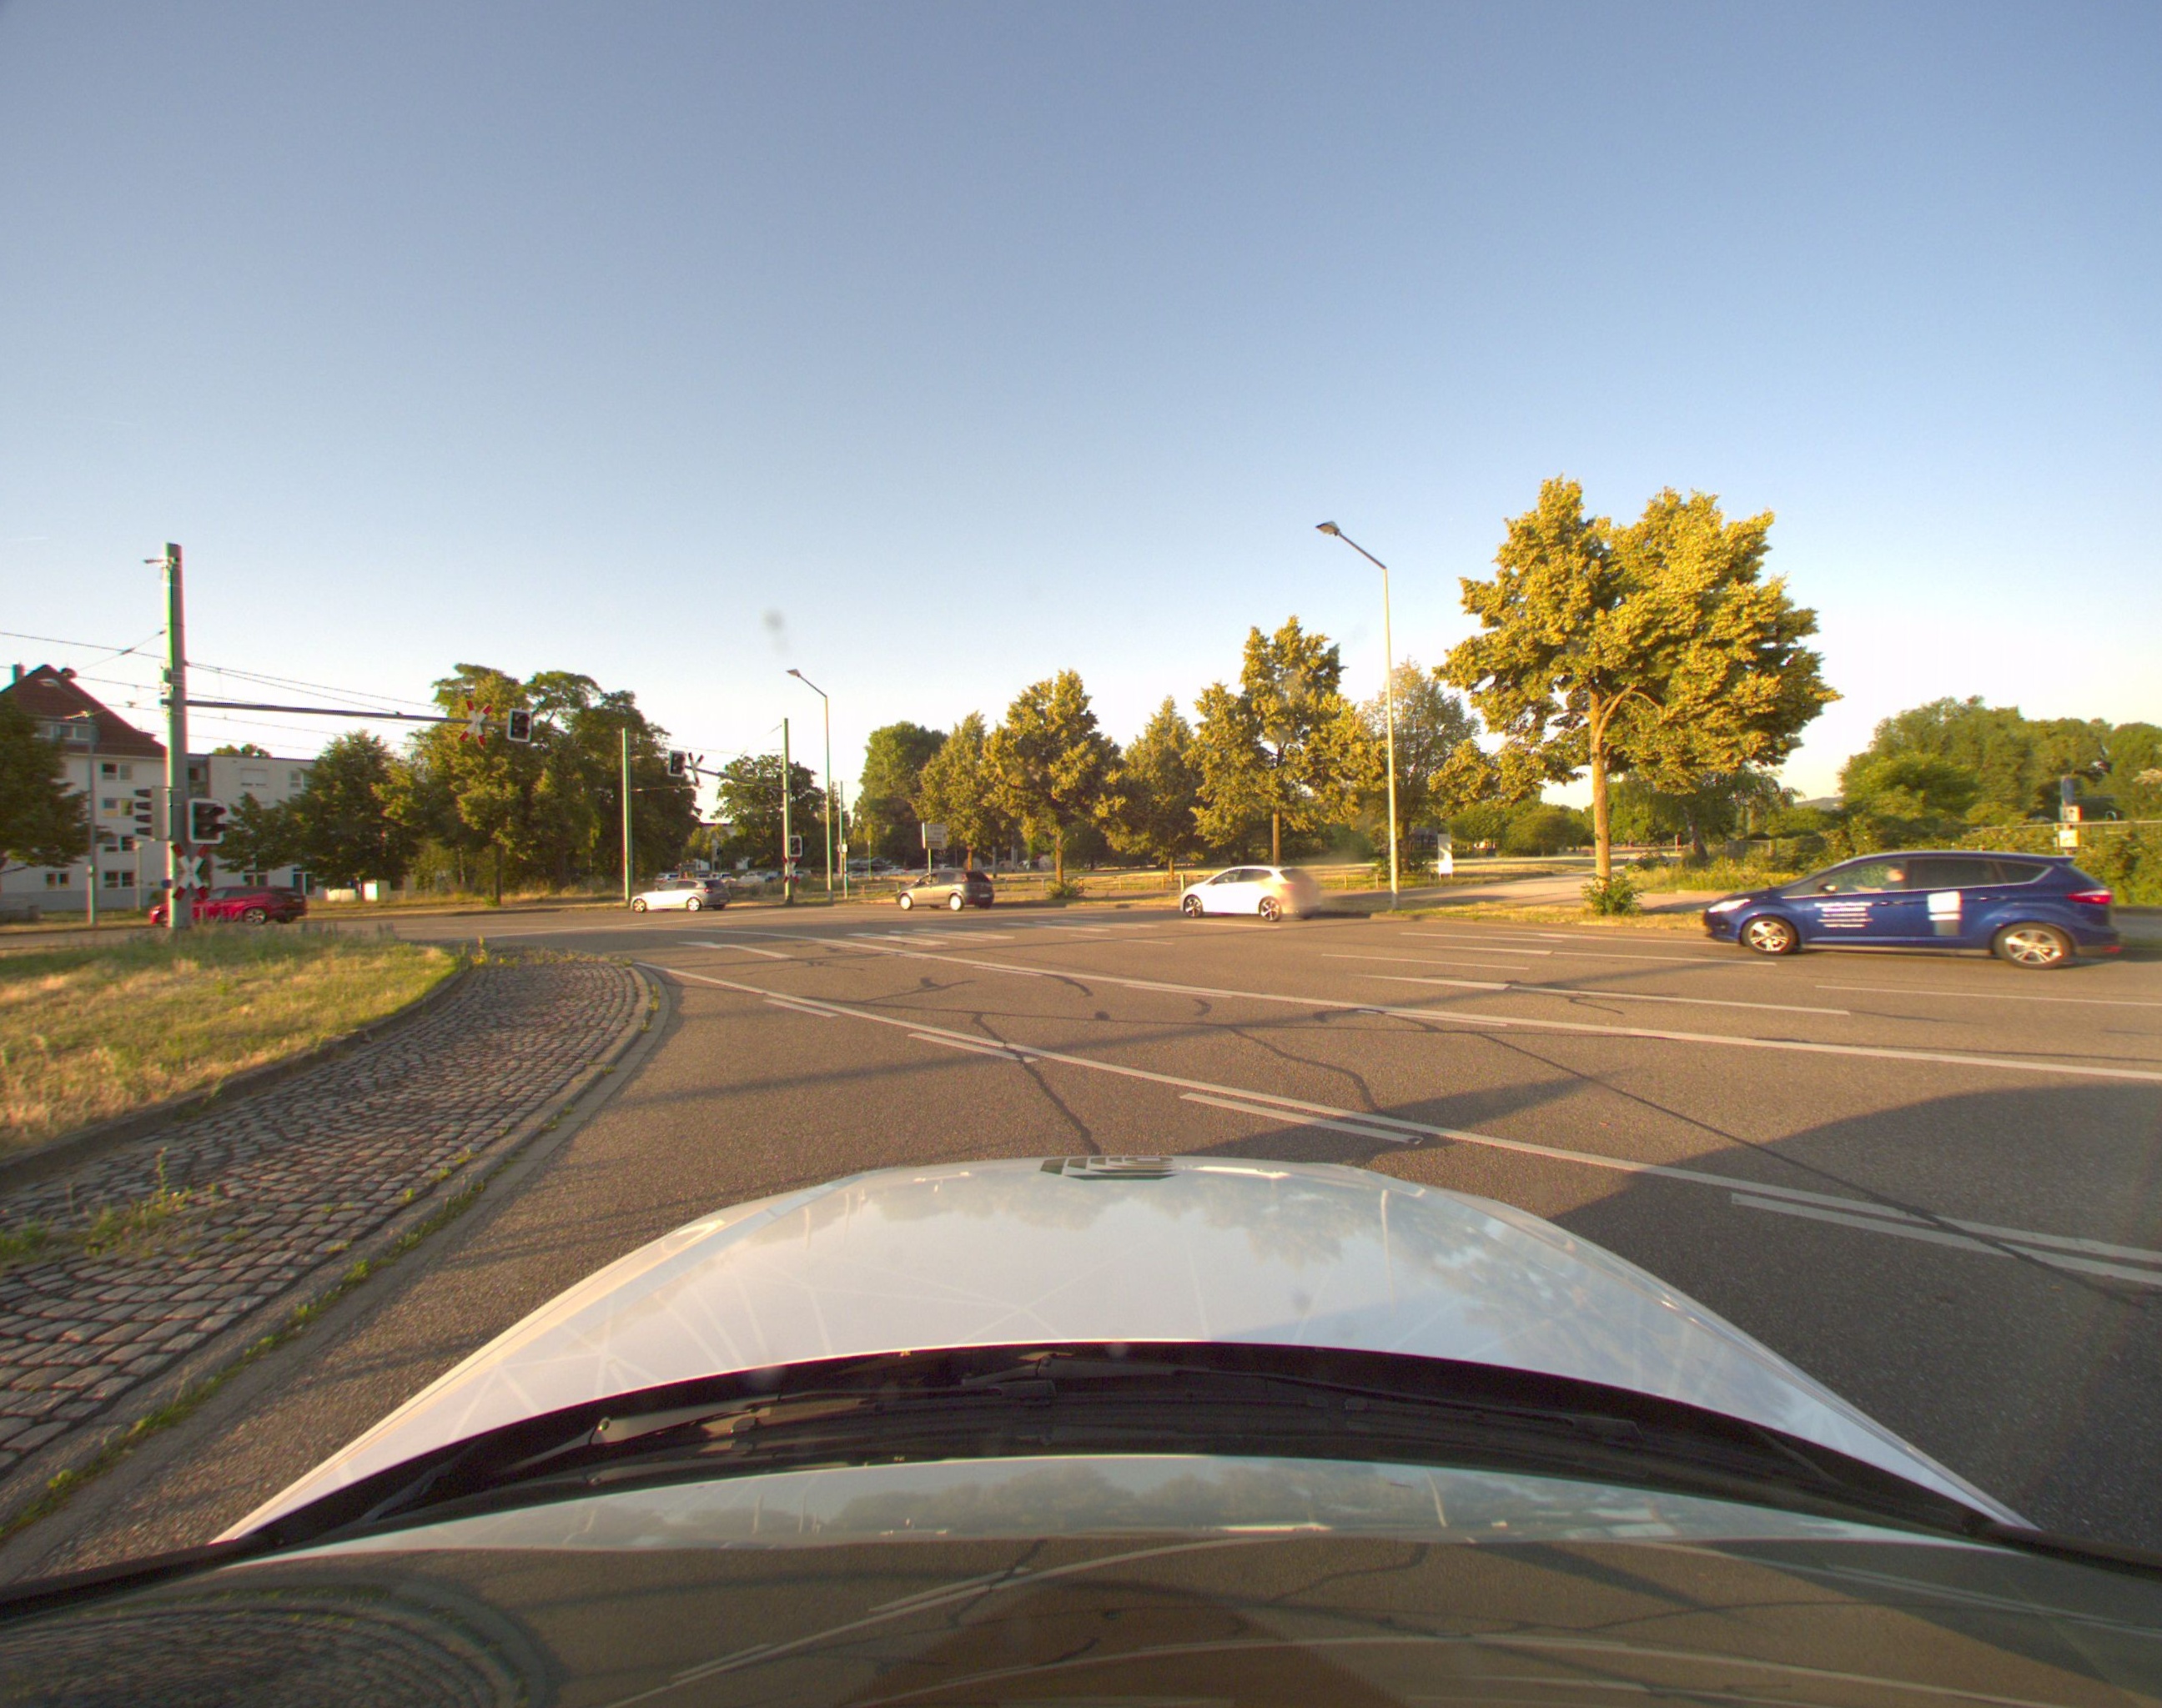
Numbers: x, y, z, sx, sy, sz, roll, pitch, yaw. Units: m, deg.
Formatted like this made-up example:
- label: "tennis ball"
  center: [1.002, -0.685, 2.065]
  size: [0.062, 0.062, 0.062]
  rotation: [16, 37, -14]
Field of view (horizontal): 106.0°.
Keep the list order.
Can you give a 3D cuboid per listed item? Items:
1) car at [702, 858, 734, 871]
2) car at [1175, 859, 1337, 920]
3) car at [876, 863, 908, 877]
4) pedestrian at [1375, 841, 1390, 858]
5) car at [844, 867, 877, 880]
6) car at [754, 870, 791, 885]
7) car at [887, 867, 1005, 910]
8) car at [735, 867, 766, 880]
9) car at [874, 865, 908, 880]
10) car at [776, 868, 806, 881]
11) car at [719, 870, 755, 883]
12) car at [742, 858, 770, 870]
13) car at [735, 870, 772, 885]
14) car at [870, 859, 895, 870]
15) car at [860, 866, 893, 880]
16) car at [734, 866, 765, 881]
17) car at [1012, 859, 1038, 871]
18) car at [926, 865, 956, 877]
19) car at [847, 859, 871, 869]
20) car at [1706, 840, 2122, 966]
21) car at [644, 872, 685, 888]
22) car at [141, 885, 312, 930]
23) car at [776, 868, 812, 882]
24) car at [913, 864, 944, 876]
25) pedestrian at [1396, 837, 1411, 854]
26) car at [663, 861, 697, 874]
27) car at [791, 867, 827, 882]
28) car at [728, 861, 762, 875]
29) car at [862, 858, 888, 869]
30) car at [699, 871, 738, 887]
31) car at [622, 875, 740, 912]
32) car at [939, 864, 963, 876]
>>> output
- label: "car"
  center: [-61.917, 1.783, 139.067]
  size: [1.974, 2.013, 4.628]
  rotation: [-2, 0, 36]
- label: "car"
  center: [4.657, 0.907, 22.099]
  size: [1.878, 1.454, 3.924]
  rotation: [-1, 0, -41]
- label: "car"
  center: [-29.369, 2.409, 126.705]
  size: [4.578, 2.013, 1.995]
  rotation: [-2, 0, -7]
- label: "pedestrian"
  center: [29.009, -0.435, 78.404]
  size: [1.064, 1.617, 0.911]
  rotation: [-2, 0, 4]
- label: "car"
  center: [-28.120, 2.473, 103.908]
  size: [3.948, 1.604, 2.013]
  rotation: [-2, 0, 34]
- label: "car"
  center: [-35.498, 2.705, 93.676]
  size: [3.948, 1.604, 2.013]
  rotation: [-2, 0, 34]
- label: "car"
  center: [-5.014, 1.252, 30.052]
  size: [4.108, 1.454, 1.880]
  rotation: [-2, 0, 34]
- label: "car"
  center: [-46.220, 2.779, 113.949]
  size: [4.005, 1.662, 1.984]
  rotation: [-2, 0, -24]
- label: "car"
  center: [-27.643, 2.679, 118.517]
  size: [4.578, 2.013, 1.995]
  rotation: [-2, 0, -7]
- label: "car"
  center: [-41.291, 2.878, 116.000]
  size: [4.001, 1.662, 1.889]
  rotation: [-2, 0, -20]
- label: "car"
  center: [-46.105, 3.010, 109.149]
  size: [1.878, 1.662, 4.026]
  rotation: [-2, 0, 37]
- label: "car"
  center: [-57.829, 1.799, 144.938]
  size: [1.974, 2.013, 4.143]
  rotation: [-2, 0, 36]
- label: "car"
  center: [-37.043, 2.703, 92.066]
  size: [3.948, 1.604, 2.013]
  rotation: [-2, 0, 34]
- label: "car"
  center: [-35.675, 1.882, 146.442]
  size: [3.964, 1.706, 2.005]
  rotation: [-2, 0, 8]
- label: "car"
  center: [-26.662, 2.479, 105.992]
  size: [3.948, 1.604, 2.013]
  rotation: [-2, 0, 34]
- label: "car"
  center: [-48.242, 2.776, 118.547]
  size: [4.006, 2.013, 1.984]
  rotation: [-2, 0, -24]
- label: "car"
  center: [-7.946, 1.518, 115.268]
  size: [1.748, 1.618, 3.954]
  rotation: [-1, 0, -39]
- label: "car"
  center: [-19.984, 2.367, 116.486]
  size: [3.948, 1.604, 2.013]
  rotation: [-2, 0, 34]
- label: "car"
  center: [-41.740, 1.881, 153.026]
  size: [1.974, 1.816, 4.026]
  rotation: [-2, 0, 37]
- label: "car"
  center: [12.230, 0.643, 12.373]
  size: [4.128, 1.583, 1.927]
  rotation: [-2, 0, 43]
- label: "car"
  center: [-42.643, 2.673, 83.329]
  size: [3.948, 1.604, 2.013]
  rotation: [-2, 0, 34]
- label: "car"
  center: [-35.081, 2.161, 33.590]
  size: [4.411, 1.573, 1.989]
  rotation: [-2, 0, -17]
- label: "car"
  center: [-33.690, 2.445, 95.435]
  size: [3.948, 1.604, 2.013]
  rotation: [-2, 0, 34]
- label: "car"
  center: [-21.459, 2.310, 114.792]
  size: [3.948, 1.604, 2.013]
  rotation: [-2, 0, 34]
- label: "pedestrian"
  center: [31.027, -0.814, 78.335]
  size: [1.064, 1.617, 0.911]
  rotation: [-2, 0, 4]
- label: "car"
  center: [-65.655, 2.228, 133.328]
  size: [1.974, 2.013, 4.627]
  rotation: [-2, 0, 32]
- label: "car"
  center: [-32.626, 2.455, 97.615]
  size: [3.948, 1.604, 2.013]
  rotation: [-2, 0, 34]
- label: "car"
  center: [-51.874, 2.118, 125.808]
  size: [1.974, 2.013, 4.627]
  rotation: [-2, 0, 32]
- label: "car"
  center: [-37.951, 1.771, 150.048]
  size: [1.975, 2.013, 4.025]
  rotation: [-2, 0, 42]
- label: "car"
  center: [-39.013, 2.681, 87.547]
  size: [3.948, 1.604, 2.013]
  rotation: [-2, 0, 34]
- label: "car"
  center: [-16.930, 1.650, 34.532]
  size: [4.122, 1.390, 1.874]
  rotation: [-2, 0, 11]
- label: "car"
  center: [-20.832, 2.522, 129.994]
  size: [2.008, 1.752, 4.549]
  rotation: [-1, 1, -35]
